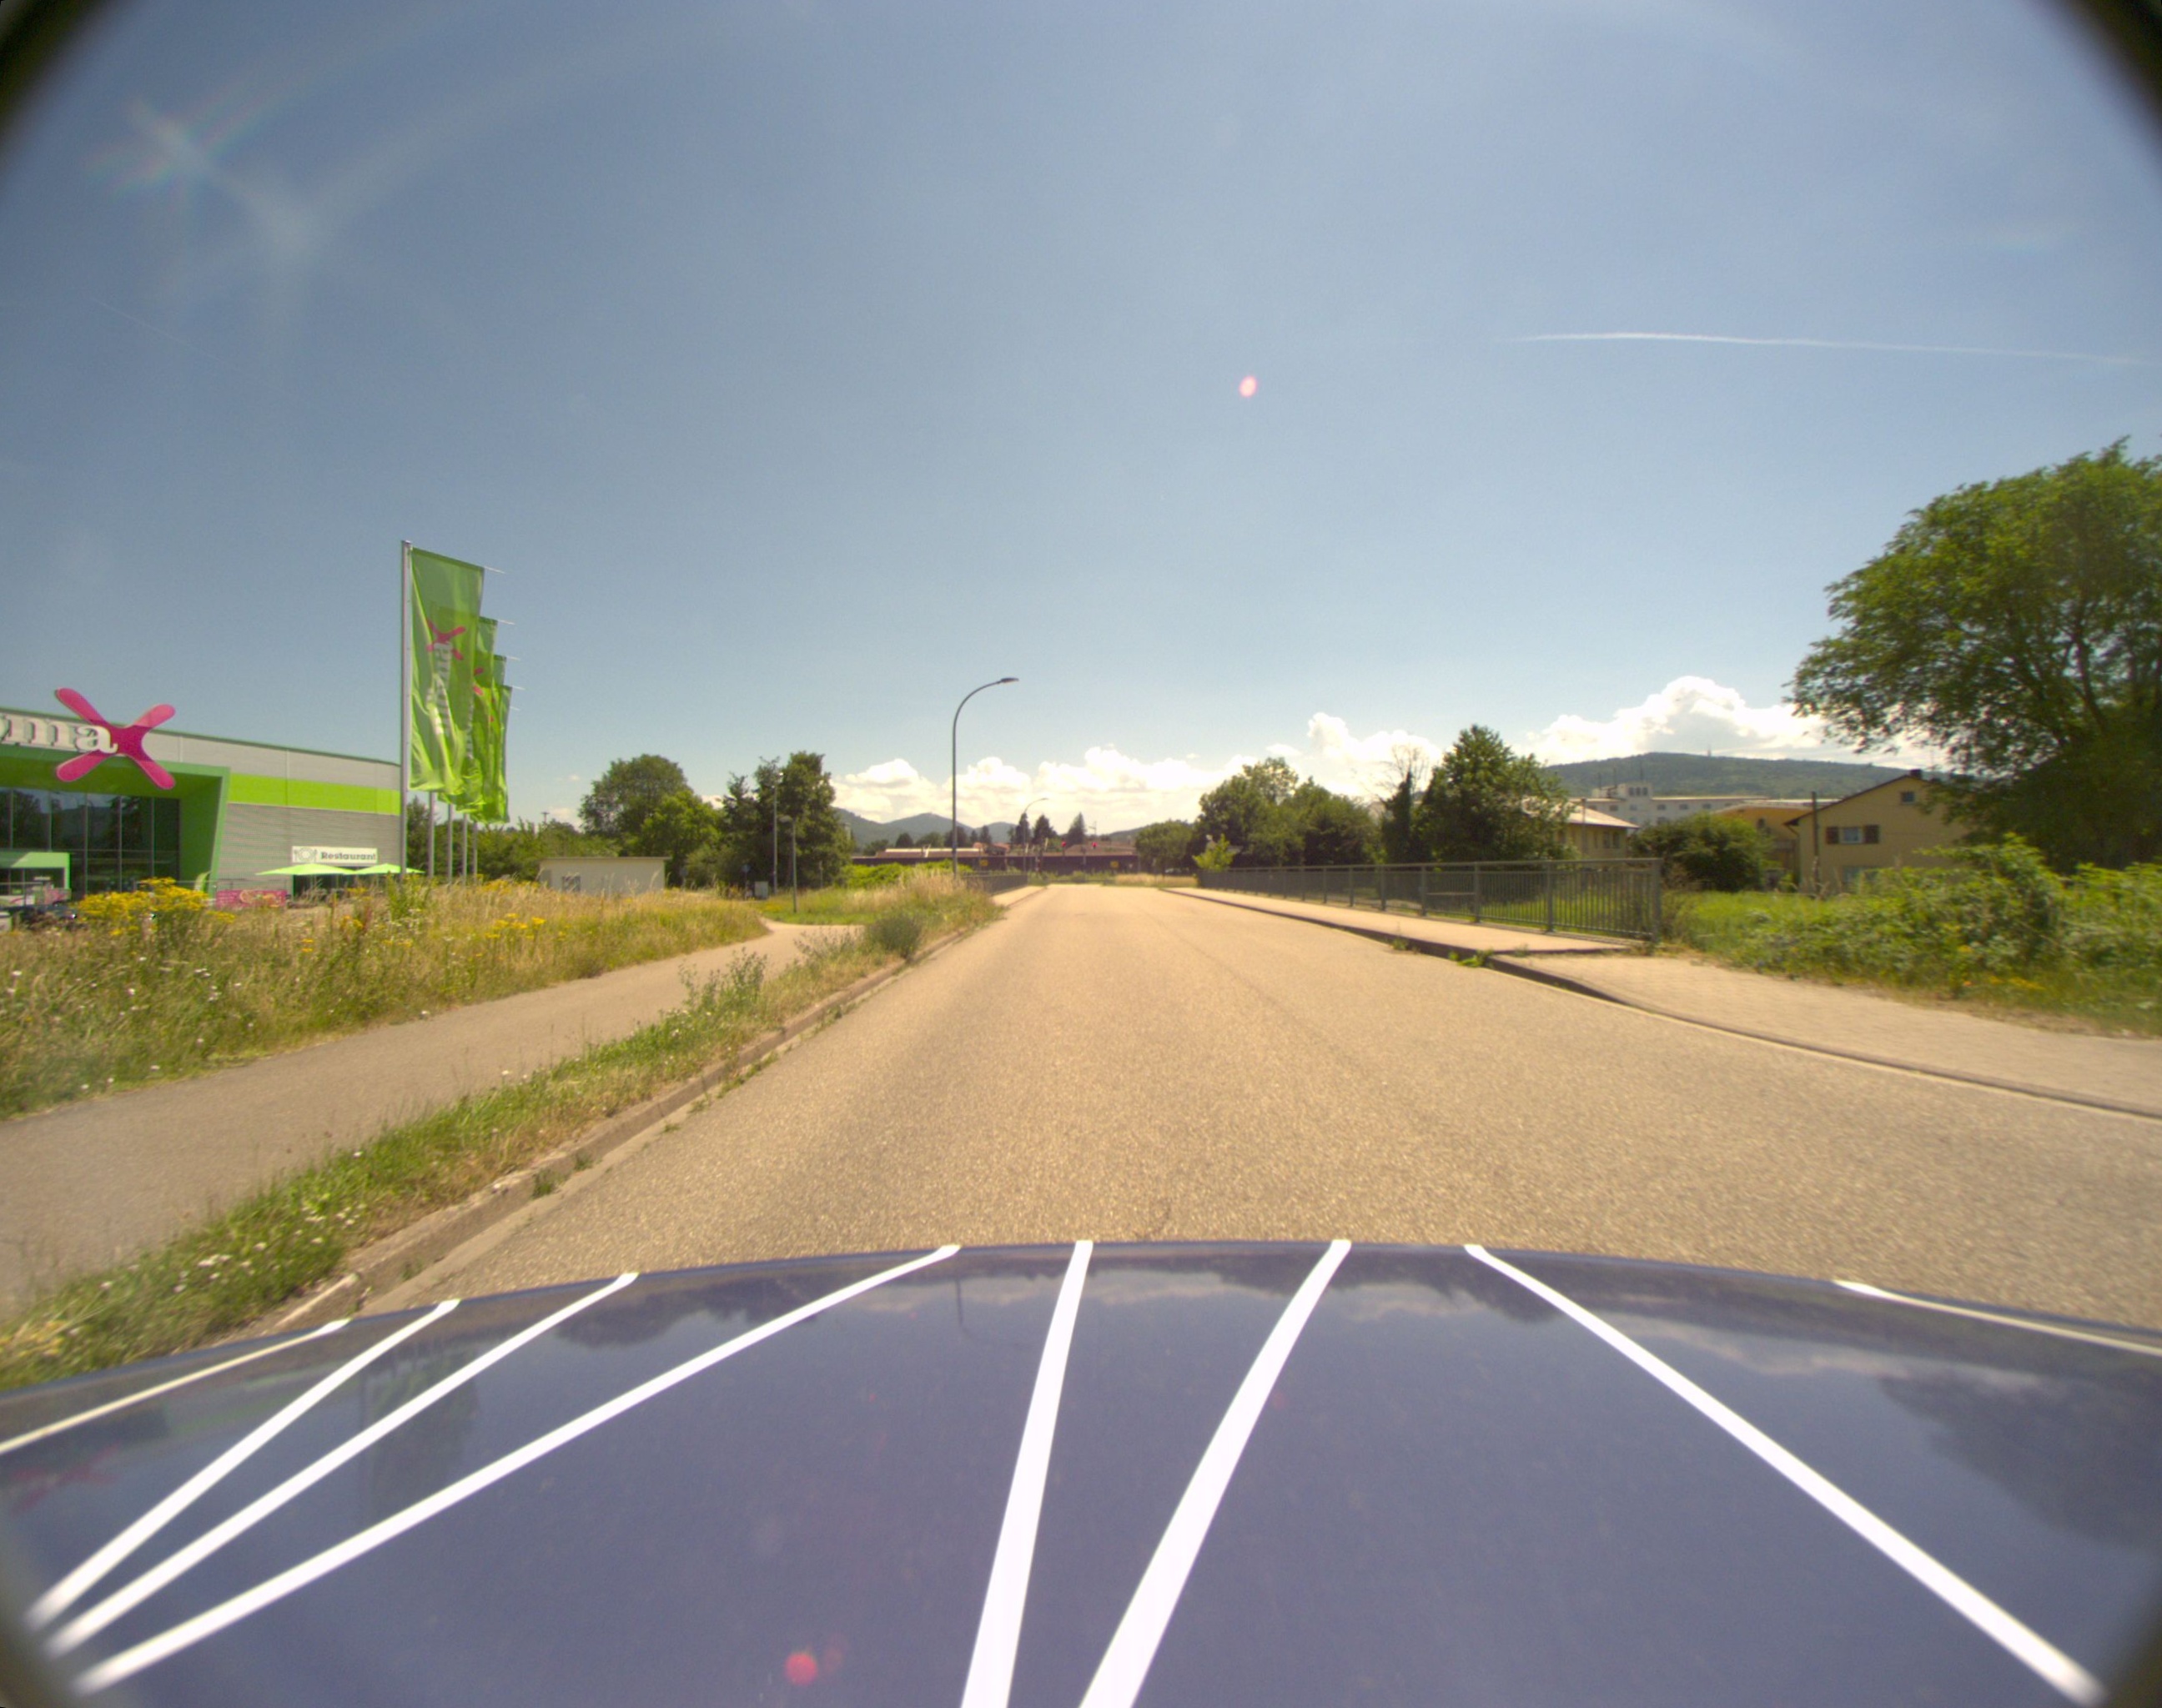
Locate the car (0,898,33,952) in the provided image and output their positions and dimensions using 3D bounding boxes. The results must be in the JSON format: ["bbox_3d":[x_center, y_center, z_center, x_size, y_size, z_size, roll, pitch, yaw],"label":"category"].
[{"bbox_3d":[-37.359,2.348,24.816,3.995,1.687,1.916,0,0,6],"label":"car"}]

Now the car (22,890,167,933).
[{"bbox_3d":[-41.756,2.412,32.220,3.995,1.644,1.916,0,0,6],"label":"car"}]

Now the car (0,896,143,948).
[{"bbox_3d":[-37.100,2.427,27.593,3.995,1.644,1.916,0,0,6],"label":"car"}]

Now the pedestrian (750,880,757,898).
[{"bbox_3d":[-27.095,2.904,62.853,0.439,1.529,0.413,-1,-2,-28],"label":"pedestrian"}]

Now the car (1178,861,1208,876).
[{"bbox_3d":[18.629,2.375,126.545,4.677,2.320,2.001,-2,0,6],"label":"car"}]
